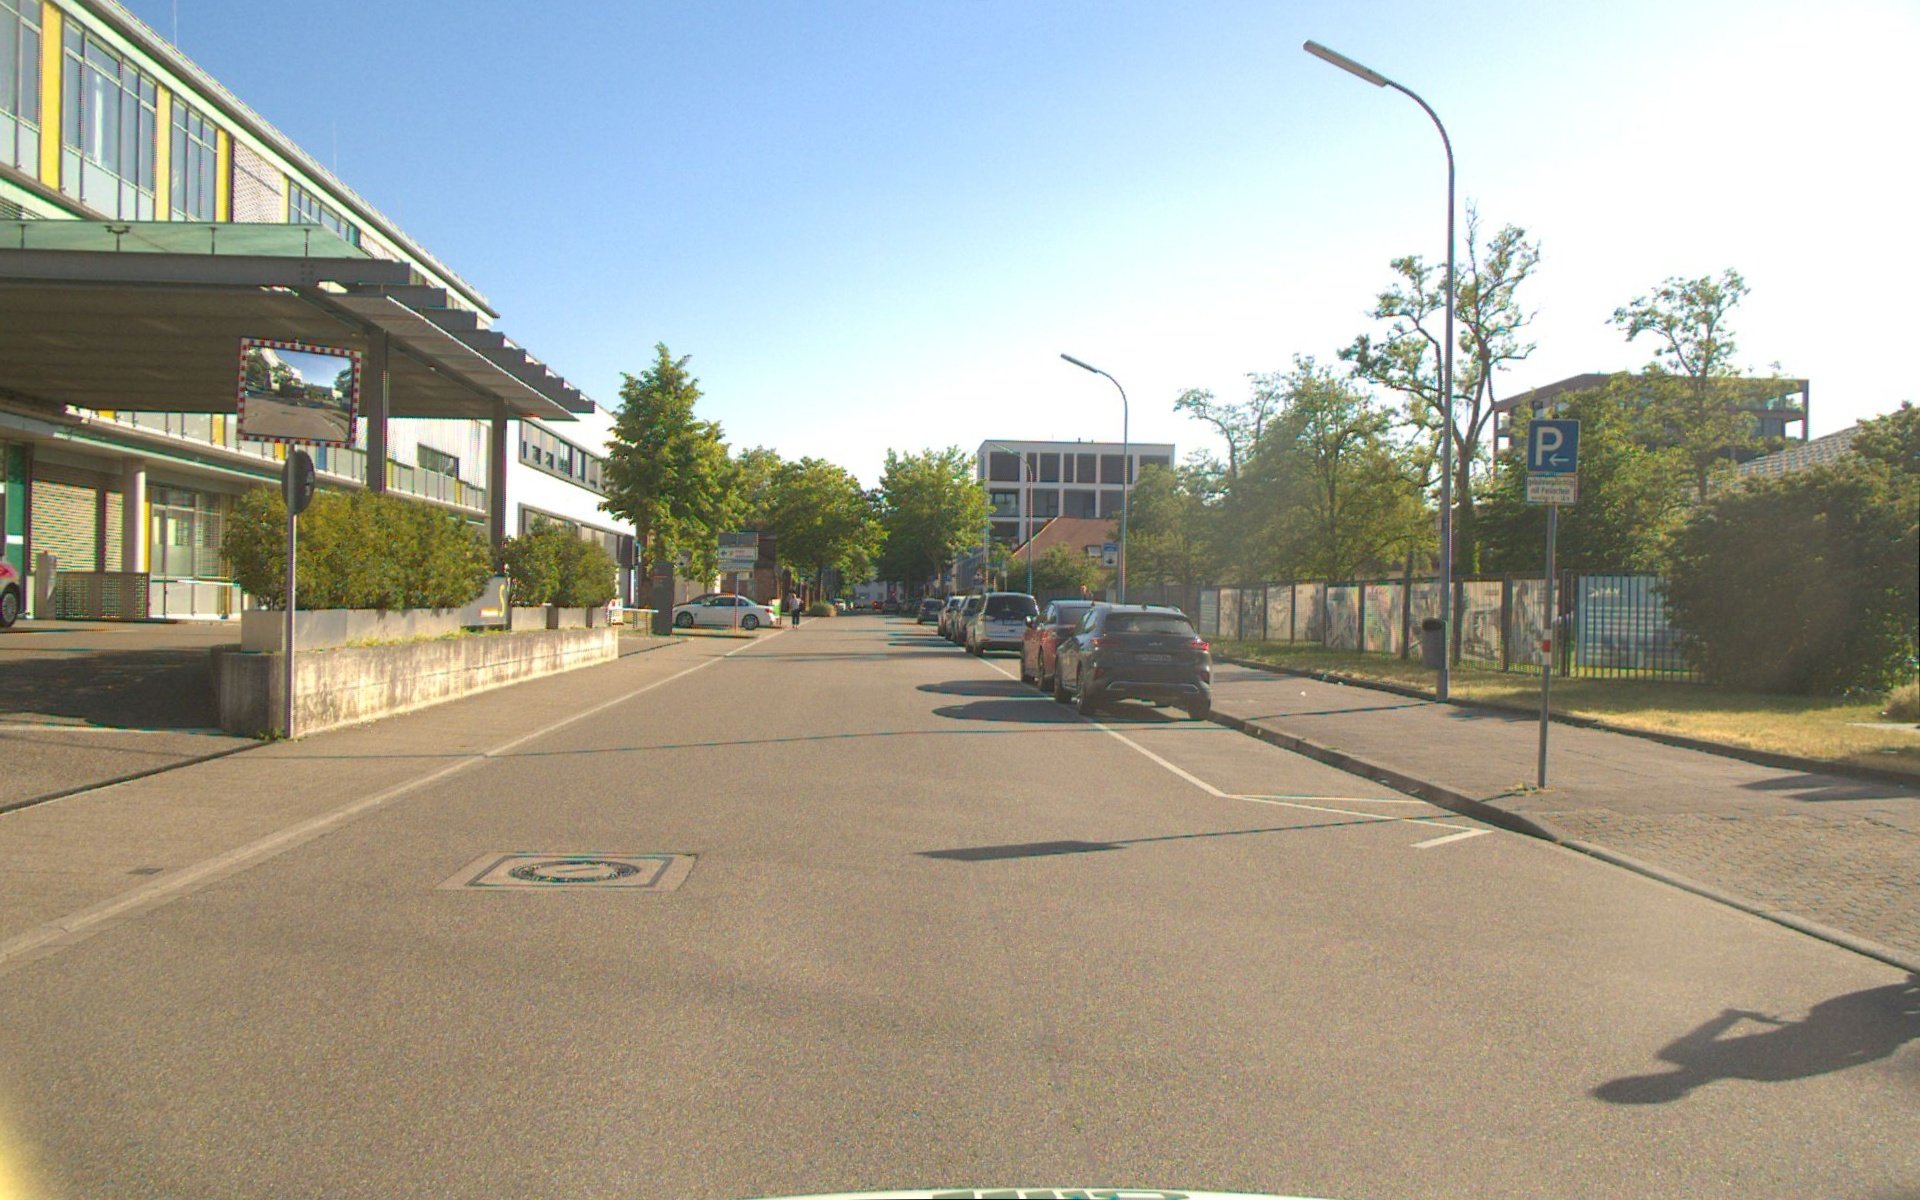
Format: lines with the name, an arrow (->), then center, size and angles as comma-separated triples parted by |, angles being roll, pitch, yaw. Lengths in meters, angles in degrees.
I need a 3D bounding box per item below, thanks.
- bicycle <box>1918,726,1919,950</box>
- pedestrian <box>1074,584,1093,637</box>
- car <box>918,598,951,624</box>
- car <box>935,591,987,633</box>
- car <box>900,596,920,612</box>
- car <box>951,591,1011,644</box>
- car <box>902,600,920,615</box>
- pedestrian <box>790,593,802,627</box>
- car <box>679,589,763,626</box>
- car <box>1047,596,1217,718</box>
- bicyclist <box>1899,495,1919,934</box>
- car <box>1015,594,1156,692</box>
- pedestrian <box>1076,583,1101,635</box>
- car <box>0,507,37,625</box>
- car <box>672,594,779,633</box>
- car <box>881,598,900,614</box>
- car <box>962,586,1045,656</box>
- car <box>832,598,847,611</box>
bicycle -> 5.323, 1.066, 7.885 | 1.867, 1.026, 0.691 | -2, 2, -39
pedestrian -> 4.151, 0.351, 55.643 | 0.511, 1.738, 0.521 | 3, -1, -6
car -> -1.512, 0.638, 96.336 | 1.781, 1.478, 4.212 | 1, 0, -2
car -> 0.013, 0.489, 68.687 | 1.777, 1.616, 4.258 | 2, 0, -5
car -> -4.757, 0.381, 157.342 | 1.732, 1.465, 3.996 | 1, 0, -4
car -> 0.665, 0.547, 55.135 | 1.667, 1.634, 4.350 | 2, 0, -3
car -> -5.501, 0.831, 186.413 | 1.911, 1.606, 3.834 | 1, 0, -2
pedestrian -> -7.577, 0.448, 76.404 | 0.527, 1.550, 0.607 | 0, 0, -2
car -> -10.573, 0.335, 73.399 | 3.564, 1.494, 1.612 | 2, 0, -6
car -> 2.363, 0.744, 23.757 | 1.667, 1.513, 4.211 | 2, 0, -4
bicyclist -> 5.109, 0.523, 7.713 | 1.042, 2.048, 0.947 | -2, 1, -38
car -> 2.142, 0.704, 29.535 | 1.773, 1.536, 4.718 | 2, 0, -4
pedestrian -> 4.195, 0.291, 54.164 | 0.668, 1.640, 0.540 | 3, -1, -6
car -> -16.558, -0.563, 25.803 | 1.881, 1.924, 4.708 | 0, 0, -4
car -> -9.996, 0.556, 70.593 | 4.428, 1.391, 1.697 | 3, 0, -9
car -> -7.068, 0.564, 167.964 | 1.732, 1.575, 4.062 | 1, 0, -4
car -> 1.151, 0.538, 45.835 | 1.773, 1.752, 4.700 | 2, 0, -4
car -> -14.375, 0.518, 196.640 | 1.732, 1.513, 3.996 | 1, 0, -4
